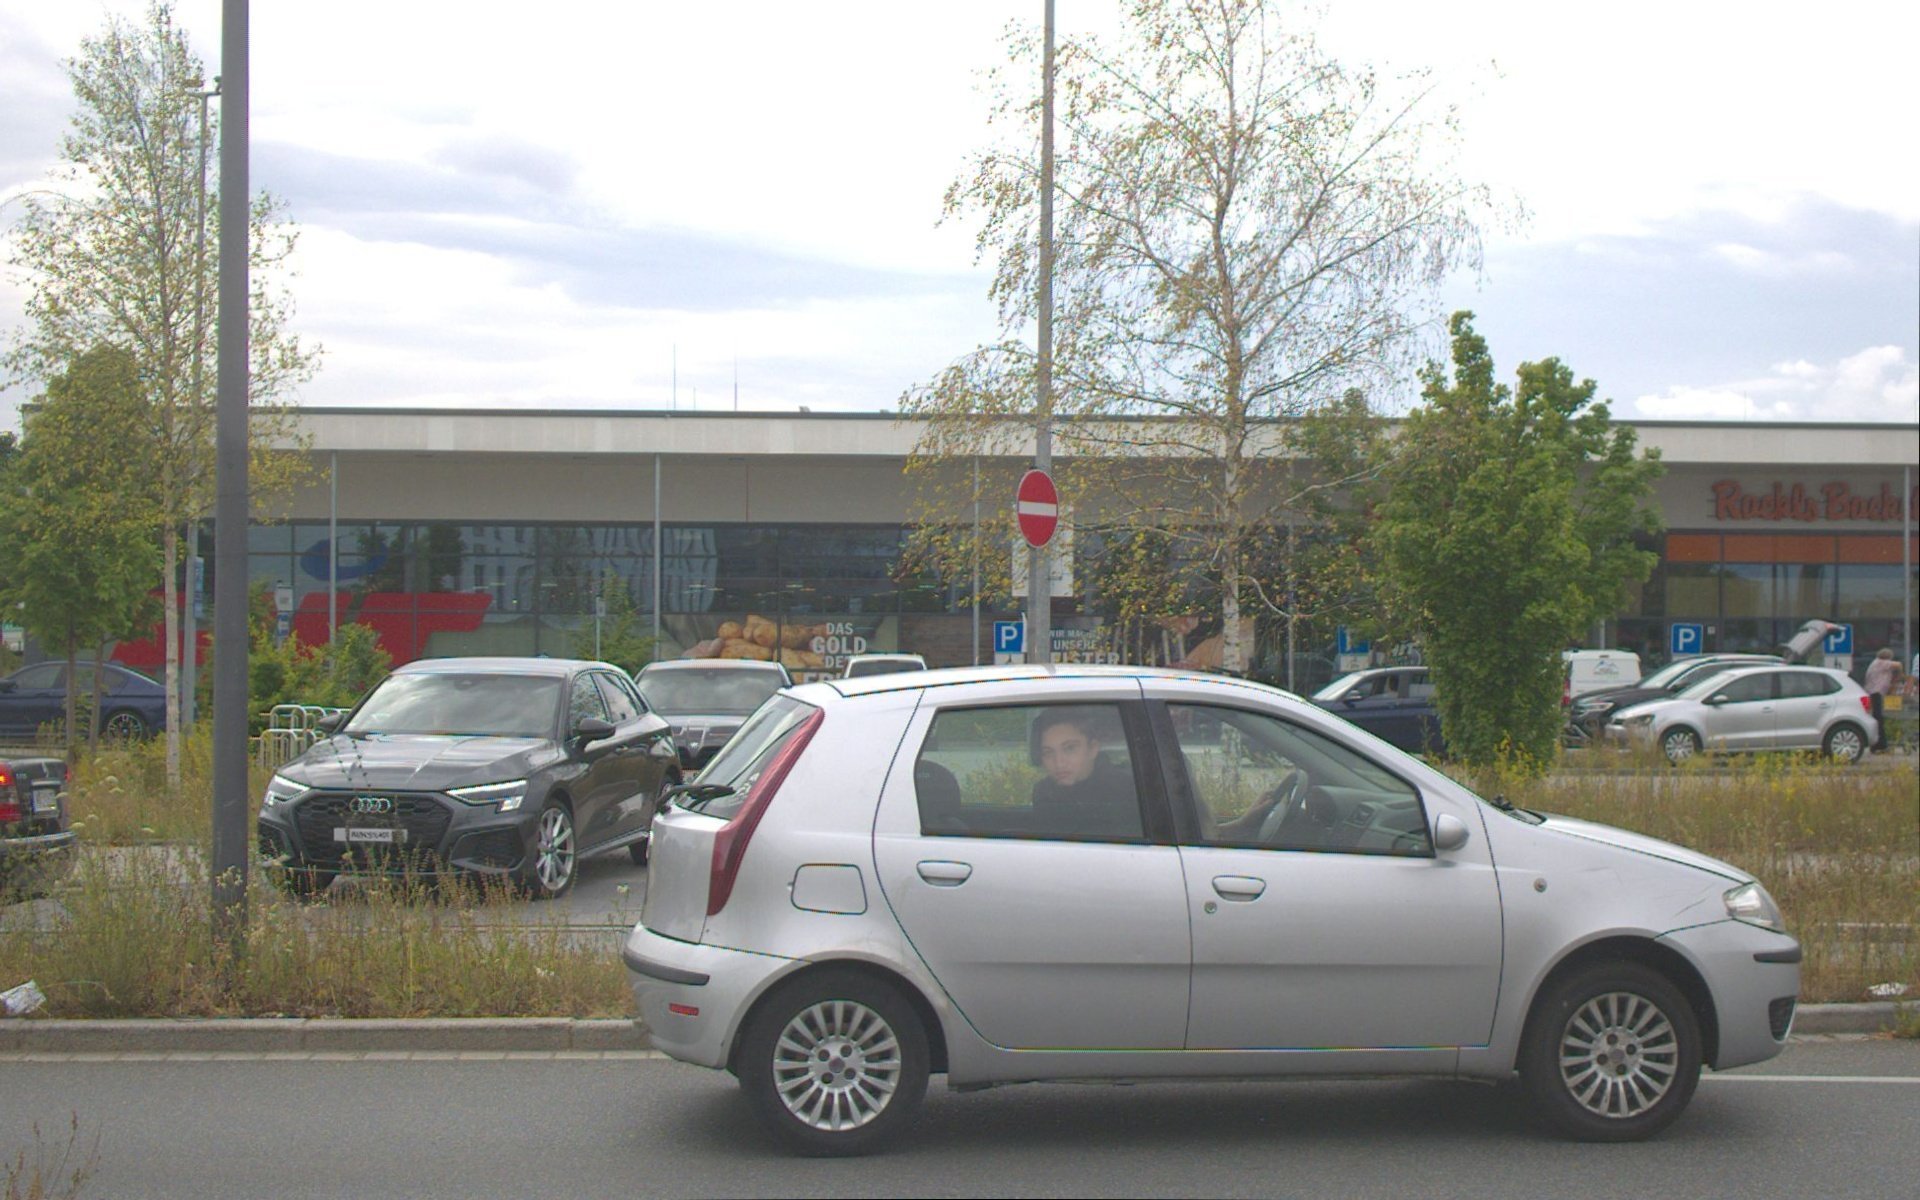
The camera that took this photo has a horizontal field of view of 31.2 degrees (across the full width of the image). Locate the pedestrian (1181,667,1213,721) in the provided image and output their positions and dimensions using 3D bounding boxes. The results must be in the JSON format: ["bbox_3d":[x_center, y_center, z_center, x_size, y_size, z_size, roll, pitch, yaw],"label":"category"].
[{"bbox_3d":[4.981,1.967,72.182,0.576,1.120,0.562,0,-1,-6],"label":"pedestrian"}]

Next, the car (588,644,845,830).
[{"bbox_3d":[-1.989,1.123,29.267,1.780,1.441,4.609,0,-1,1],"label":"car"}]

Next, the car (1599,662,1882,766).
[{"bbox_3d":[11.460,1.668,50.611,3.746,1.449,1.668,1,-1,-2],"label":"car"}]

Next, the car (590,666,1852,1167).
[{"bbox_3d":[0.745,0.955,11.244,3.803,1.456,1.801,0,-1,-9],"label":"car"}]

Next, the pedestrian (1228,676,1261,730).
[{"bbox_3d":[5.904,2.135,71.342,0.576,1.120,0.562,0,-1,-6],"label":"pedestrian"}]

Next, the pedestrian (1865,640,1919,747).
[{"bbox_3d":[14.595,1.453,53.460,0.821,1.626,0.899,1,-1,3],"label":"pedestrian"}]

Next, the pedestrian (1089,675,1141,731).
[{"bbox_3d":[3.271,2.175,72.633,0.970,1.150,1.133,1,-1,-4],"label":"pedestrian"}]

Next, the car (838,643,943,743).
[{"bbox_3d":[-1.245,1.671,63.075,1.824,1.694,4.234,0,0,0],"label":"car"}]

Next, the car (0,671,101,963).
[{"bbox_3d":[-6.676,1.044,17.166,4.356,1.391,1.791,0,-2,-3],"label":"car"}]

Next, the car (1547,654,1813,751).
[{"bbox_3d":[11.223,1.591,53.723,3.746,1.449,1.668,1,-1,-2],"label":"car"}]

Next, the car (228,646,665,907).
[{"bbox_3d":[-3.163,1.049,22.058,1.792,1.461,4.319,1,0,5],"label":"car"}]

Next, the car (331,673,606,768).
[{"bbox_3d":[-7.401,1.810,52.077,3.986,1.347,2.000,1,-1,-5],"label":"car"}]

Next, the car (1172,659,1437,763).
[{"bbox_3d":[4.998,1.605,50.123,3.606,1.449,1.668,1,-1,-3],"label":"car"}]

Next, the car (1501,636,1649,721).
[{"bbox_3d":[11.427,1.439,64.106,1.993,1.503,4.000,1,-1,-1],"label":"car"}]

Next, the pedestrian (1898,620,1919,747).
[{"bbox_3d":[15.431,1.319,54.487,0.865,2.007,1.003,1,-1,2],"label":"pedestrian"}]

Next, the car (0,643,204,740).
[{"bbox_3d":[-15.247,1.503,57.190,5.007,1.552,2.000,1,-1,-7],"label":"car"}]
